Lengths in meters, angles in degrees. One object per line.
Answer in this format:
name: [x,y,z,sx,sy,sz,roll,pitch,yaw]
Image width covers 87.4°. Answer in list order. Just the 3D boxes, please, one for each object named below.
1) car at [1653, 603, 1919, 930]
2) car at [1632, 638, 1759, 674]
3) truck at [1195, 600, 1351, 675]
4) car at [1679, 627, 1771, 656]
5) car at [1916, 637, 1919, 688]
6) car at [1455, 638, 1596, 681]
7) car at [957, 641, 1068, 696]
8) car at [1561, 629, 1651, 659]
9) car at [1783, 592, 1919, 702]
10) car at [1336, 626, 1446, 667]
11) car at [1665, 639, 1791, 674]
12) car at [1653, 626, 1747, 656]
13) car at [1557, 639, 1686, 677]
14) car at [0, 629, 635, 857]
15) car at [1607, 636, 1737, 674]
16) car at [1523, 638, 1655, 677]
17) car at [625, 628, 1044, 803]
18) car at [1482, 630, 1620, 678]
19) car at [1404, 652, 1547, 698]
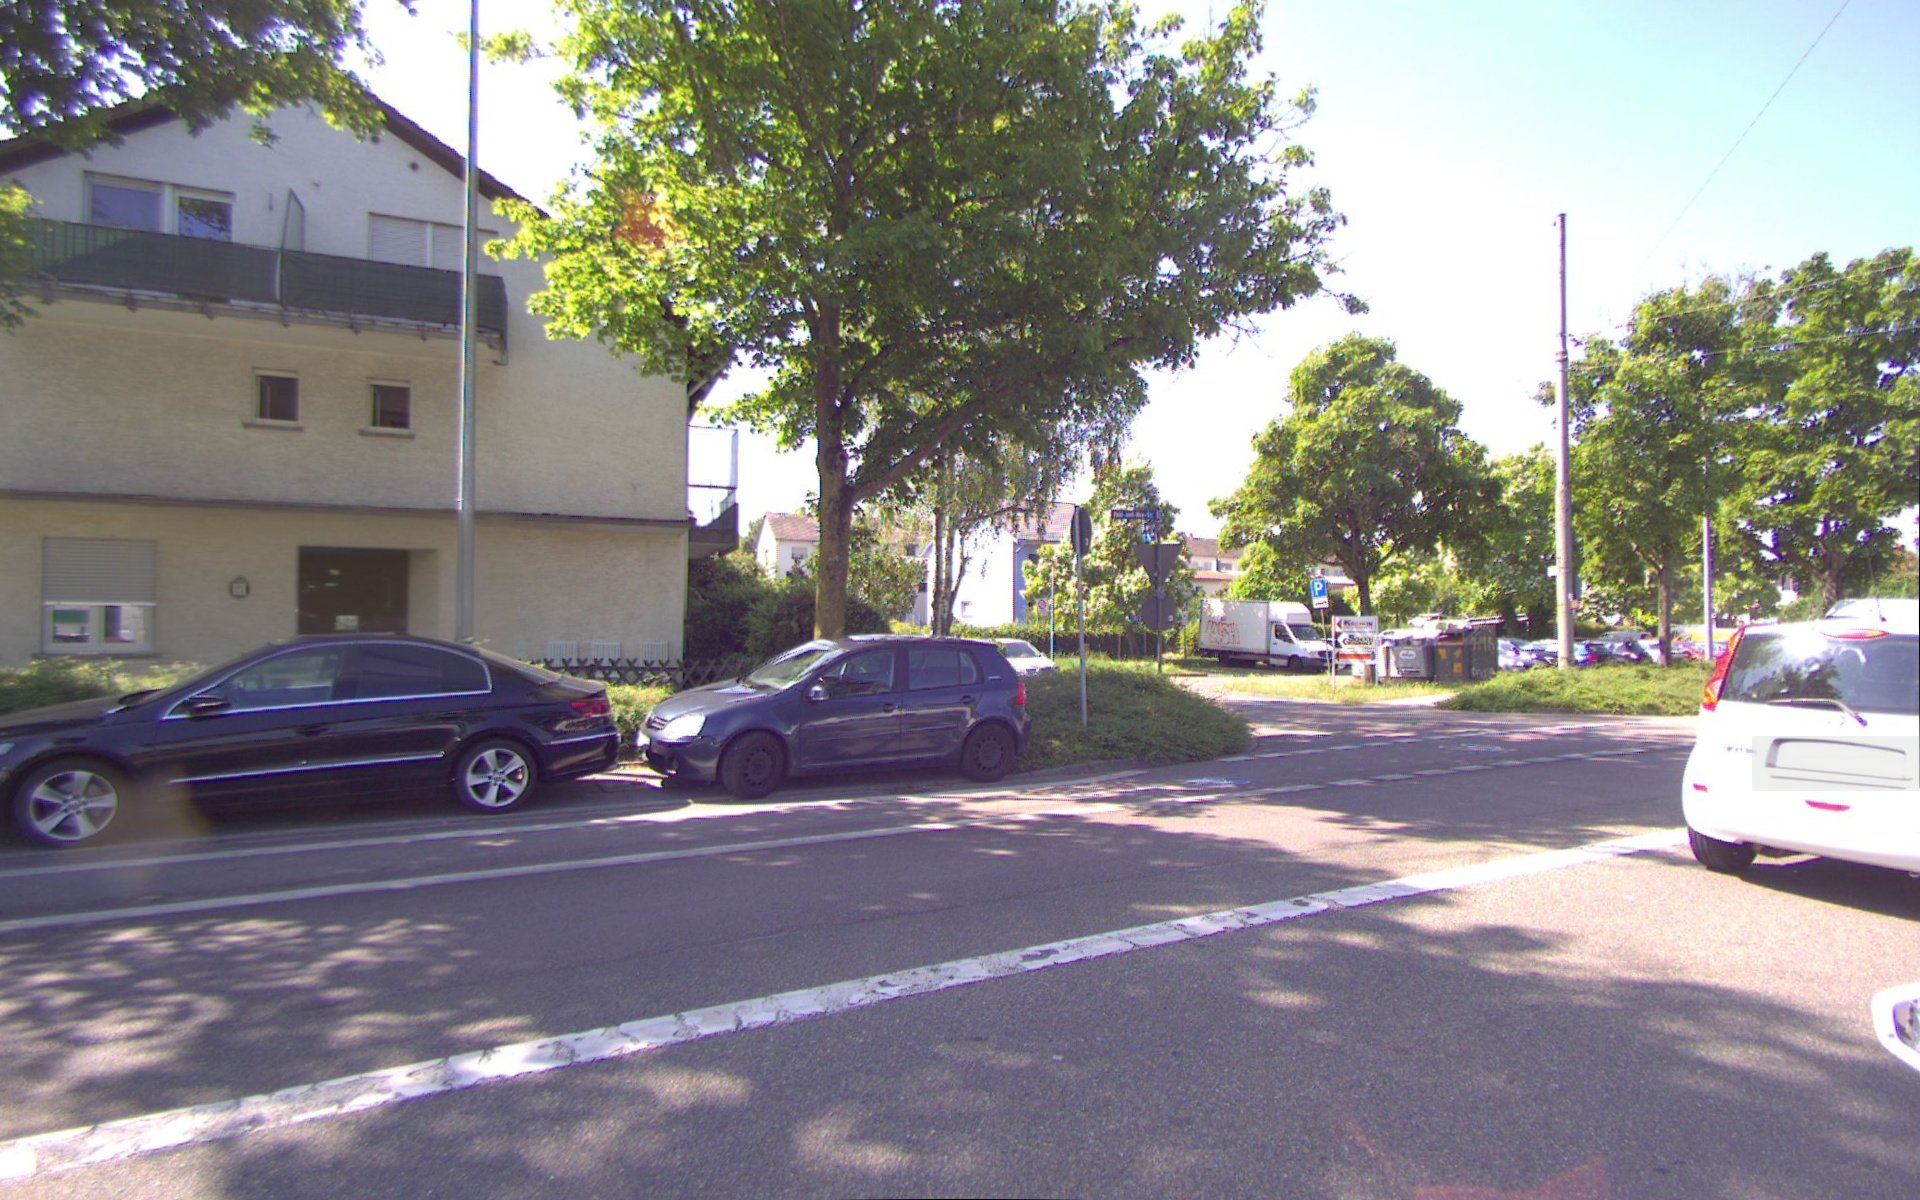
car: [6.398,0.845,6.249,4.491,1.568,1.655,1,-1,-29]
car: [30.732,2.335,42.078,1.712,1.434,3.964,2,-4,-33]
truck: [14.419,1.616,46.812,2.646,3.151,6.967,1,0,-30]
car: [54.414,2.906,71.540,2.043,1.811,4.762,2,0,-34]
car: [29.416,1.821,28.782,4.230,1.434,1.854,1,0,-31]
car: [19.666,2.075,35.102,1.712,1.434,3.964,2,-4,-33]
car: [1.403,1.911,28.434,1.704,1.434,3.983,1,-3,-20]
car: [44.508,2.990,69.291,2.043,1.811,4.762,2,0,-34]
car: [23.786,1.142,25.769,5.745,2.550,2.114,1,0,-29]
car: [21.677,2.326,50.698,2.043,1.811,4.762,2,0,-34]
car: [33.154,2.447,43.448,1.712,1.434,3.964,2,-4,-33]
car: [50.571,2.776,68.737,2.043,1.811,4.762,2,0,-34]
car: [26.300,2.328,40.061,1.712,1.434,3.964,2,-4,-33]
car: [-5.259,1.004,8.360,4.568,1.434,1.854,1,0,-31]
car: [28.821,2.244,40.777,1.712,1.434,3.964,2,-4,-33]
car: [24.162,2.214,38.708,1.712,1.434,3.964,2,-4,-33]
car: [-1.274,1.067,10.466,3.988,1.462,1.718,1,0,-28]
car: [21.406,1.972,36.501,1.712,1.631,3.964,2,-4,-33]
car: [17.315,2.490,33.893,1.712,1.434,3.964,2,-4,-33]
